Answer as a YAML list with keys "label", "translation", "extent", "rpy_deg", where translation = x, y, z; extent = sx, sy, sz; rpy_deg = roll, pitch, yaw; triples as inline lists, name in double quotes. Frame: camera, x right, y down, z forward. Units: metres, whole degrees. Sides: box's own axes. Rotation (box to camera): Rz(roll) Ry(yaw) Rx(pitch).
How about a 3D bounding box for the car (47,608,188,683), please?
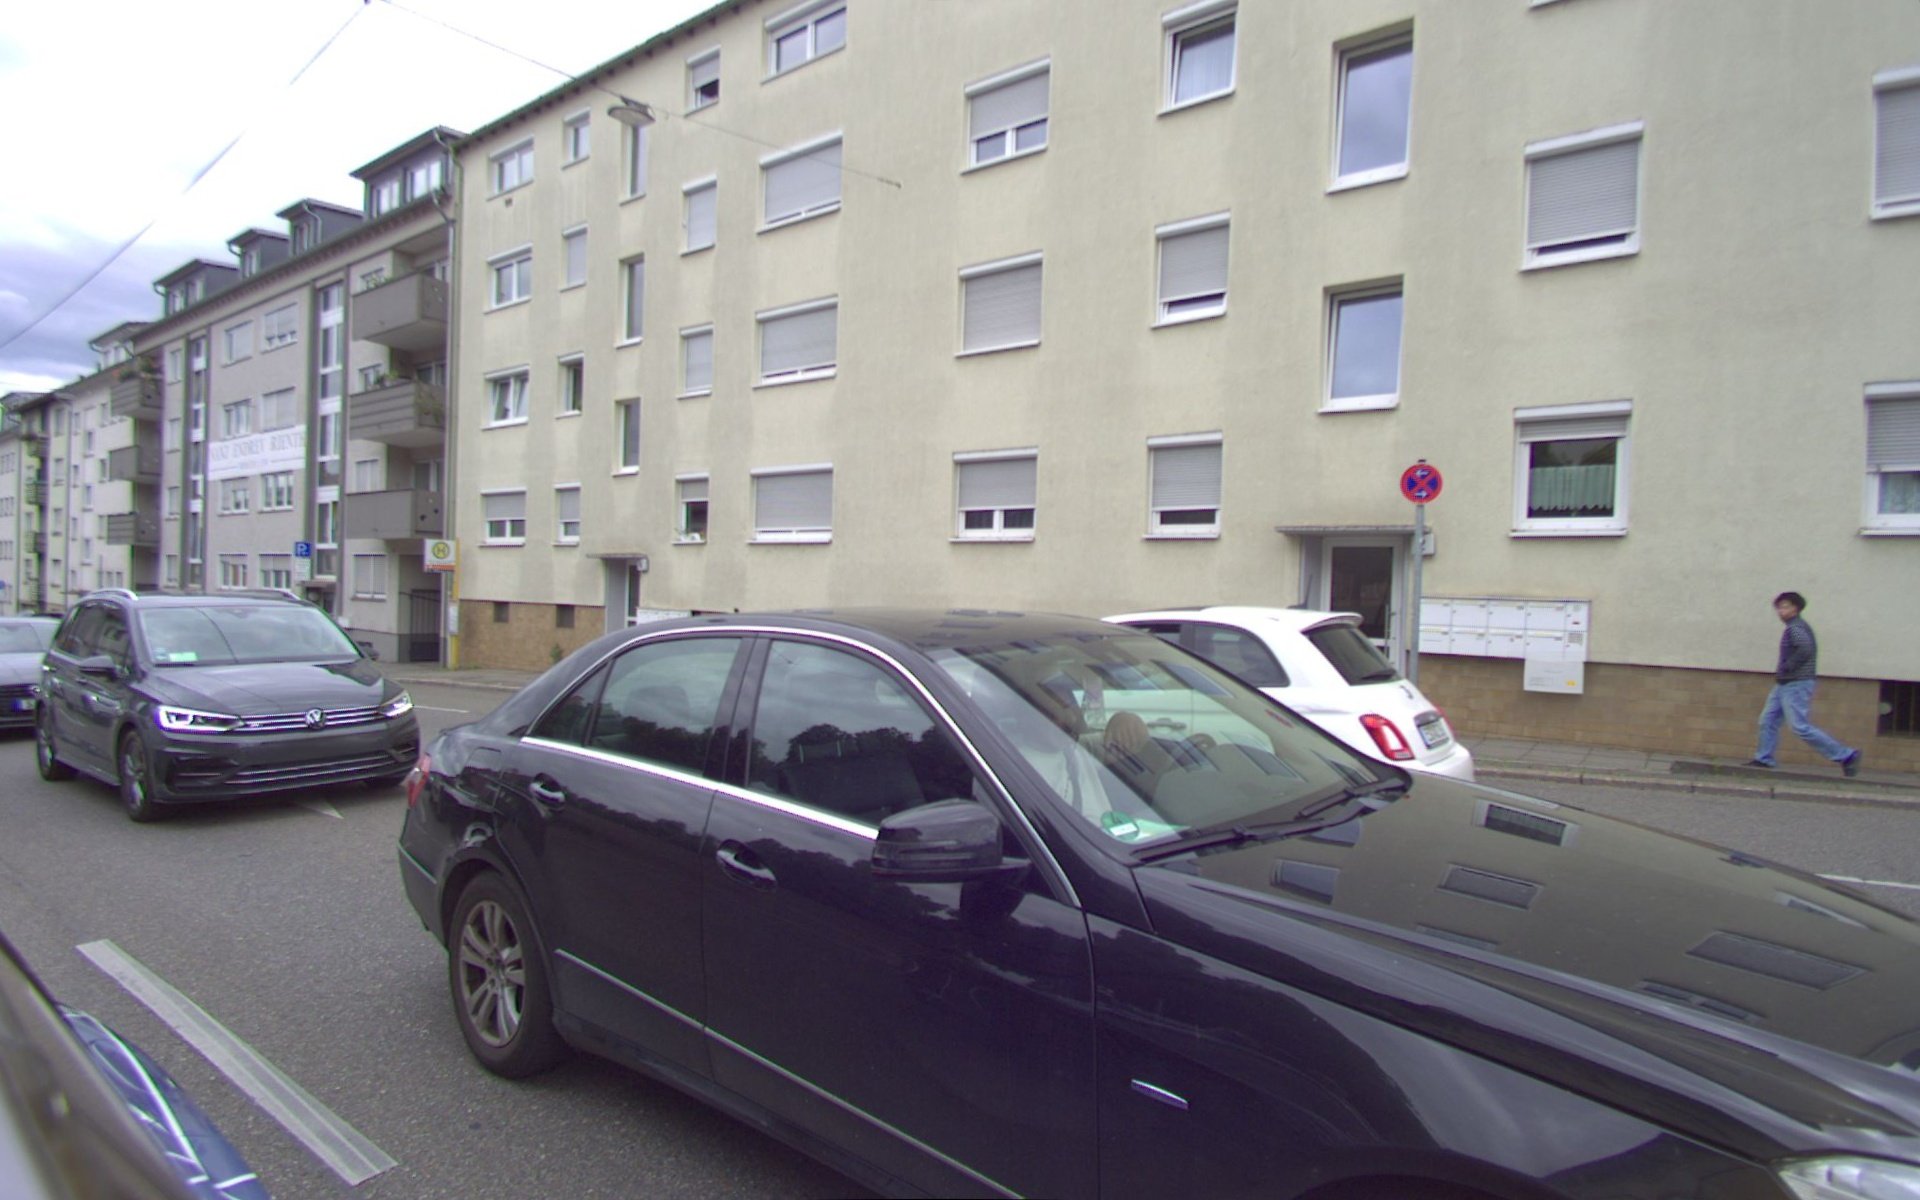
- label: "car"
  translation: [-18.630, 0.957, 22.342]
  extent: [3.453, 1.529, 1.583]
  rpy_deg: [0, -2, 37]

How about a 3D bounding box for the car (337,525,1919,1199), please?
- label: "car"
  translation: [0.146, 0.674, 2.972]
  extent: [4.838, 1.439, 1.973]
  rpy_deg: [-1, -1, 40]

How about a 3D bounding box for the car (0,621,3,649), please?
- label: "car"
  translation: [-50.333, 1.724, 51.379]
  extent: [3.750, 1.414, 1.755]
  rpy_deg: [0, -3, 35]

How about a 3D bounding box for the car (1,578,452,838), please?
- label: "car"
  translation: [-6.241, 0.677, 8.422]
  extent: [4.472, 1.623, 1.840]
  rpy_deg: [0, 0, 37]

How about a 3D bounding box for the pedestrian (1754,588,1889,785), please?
- label: "pedestrian"
  translation: [7.596, 0.730, 8.958]
  extent: [0.776, 1.649, 0.683]
  rpy_deg: [-1, -1, 31]

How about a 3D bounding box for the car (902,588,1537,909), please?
- label: "car"
  translation: [1.468, 0.705, 6.331]
  extent: [3.526, 1.458, 1.582]
  rpy_deg: [-1, -1, 39]

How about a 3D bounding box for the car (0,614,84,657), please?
- label: "car"
  translation: [-37.105, 1.418, 40.855]
  extent: [3.532, 1.613, 1.755]
  rpy_deg: [0, -3, 35]

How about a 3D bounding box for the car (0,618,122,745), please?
- label: "car"
  translation: [-11.861, 0.908, 12.308]
  extent: [4.143, 1.365, 1.858]
  rpy_deg: [-1, -1, 40]
